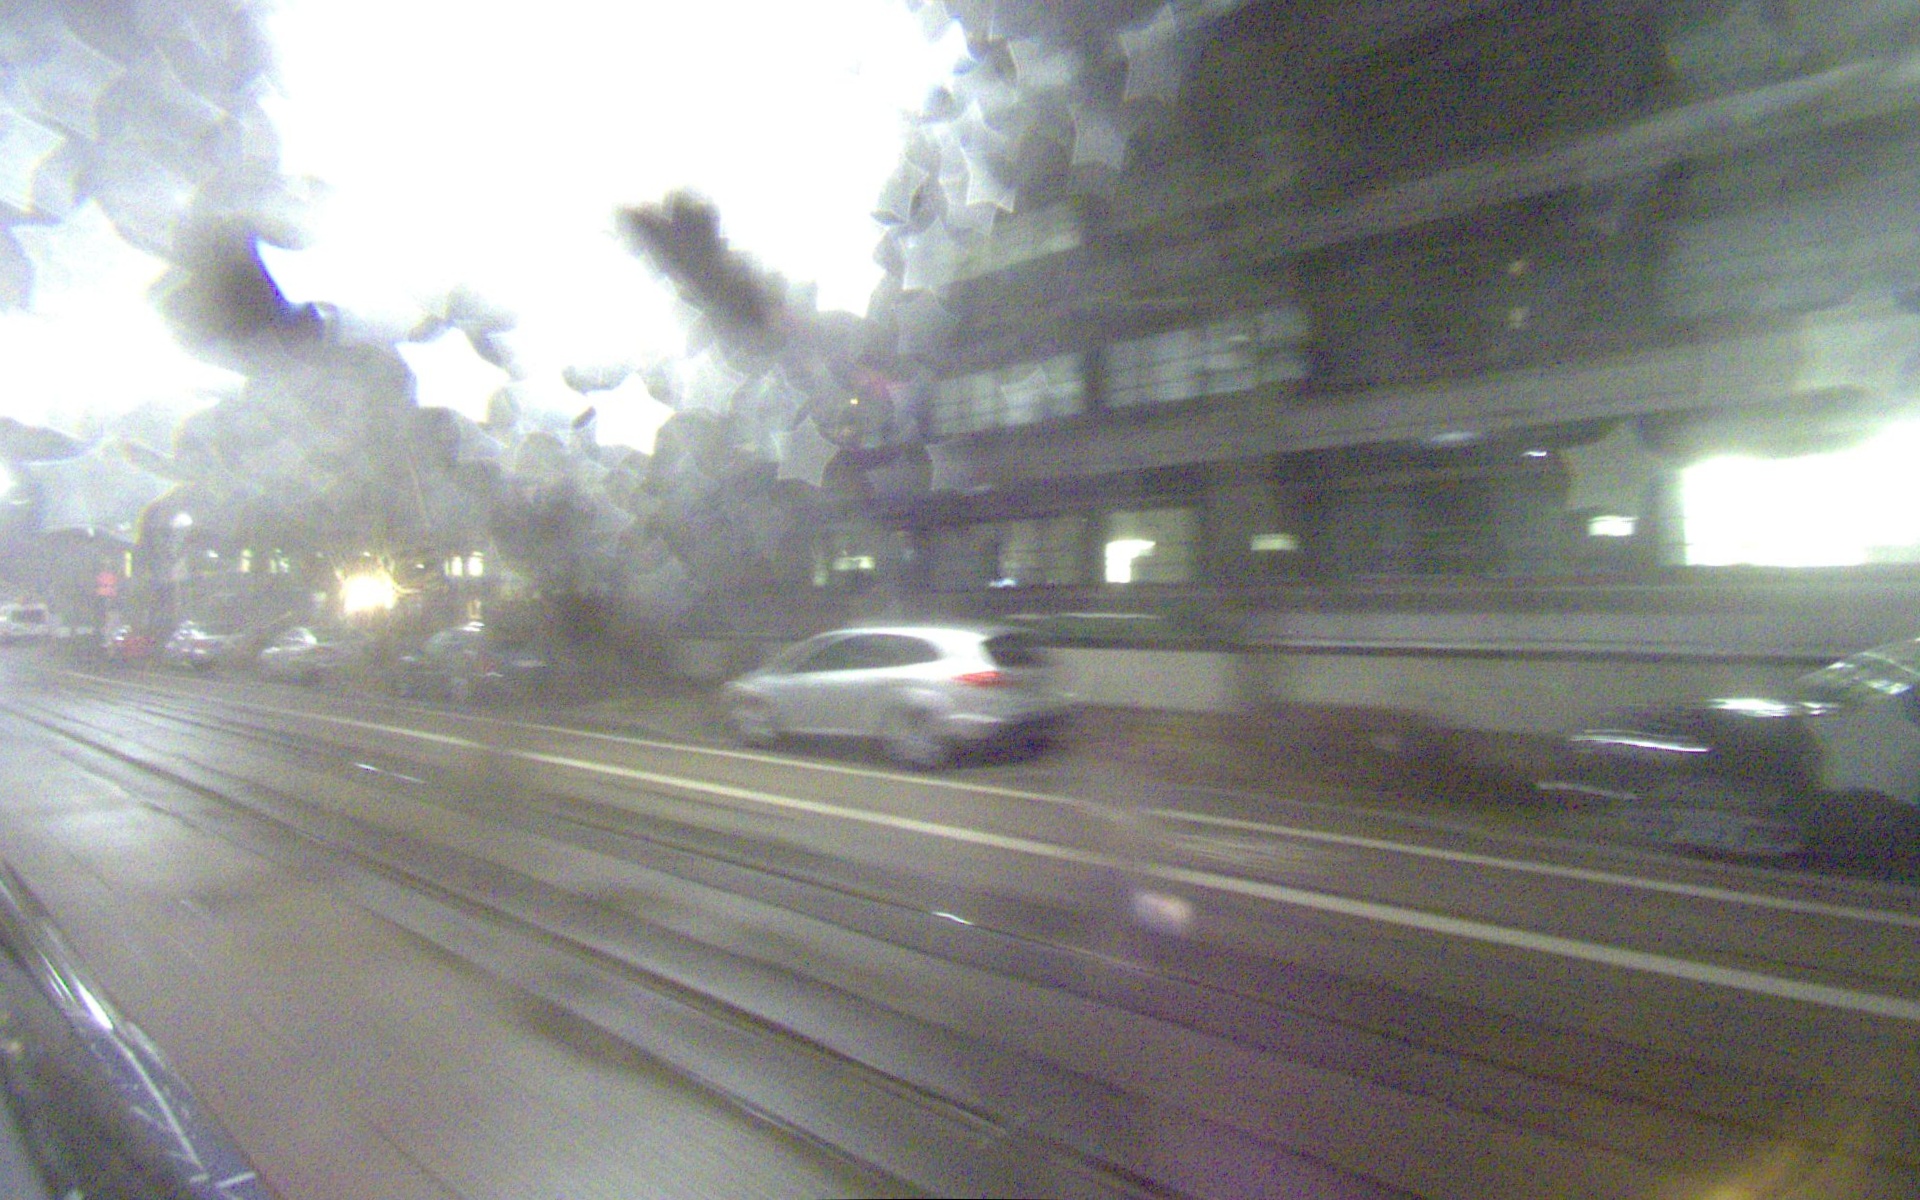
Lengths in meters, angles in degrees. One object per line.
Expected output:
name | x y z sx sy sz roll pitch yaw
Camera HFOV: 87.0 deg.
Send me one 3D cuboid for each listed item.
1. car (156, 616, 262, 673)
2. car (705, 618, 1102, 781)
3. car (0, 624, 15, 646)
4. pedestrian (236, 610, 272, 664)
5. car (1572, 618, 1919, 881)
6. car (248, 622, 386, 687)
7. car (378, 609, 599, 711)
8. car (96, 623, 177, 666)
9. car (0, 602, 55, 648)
car | -24.223 1.393 32.587 4.351 1.590 1.791 -1 2 41
car | -0.810 0.983 11.715 4.603 1.451 1.756 -1 2 40
car | -65.453 2.382 68.553 3.387 1.418 1.699 -1 1 40
pedestrian | -25.370 1.307 36.381 1.290 1.916 0.784 -1 -1 41
car | 6.158 0.825 5.956 4.203 1.434 1.822 -1 -1 38
car | -16.198 1.295 25.390 4.624 1.449 1.713 -1 -1 41
car | -9.159 1.040 19.508 4.586 1.631 2.122 -1 2 41
car | -31.256 1.650 38.363 3.948 1.467 1.701 -1 -1 40
car | -56.148 1.449 60.450 5.253 2.527 2.221 -1 1 38
